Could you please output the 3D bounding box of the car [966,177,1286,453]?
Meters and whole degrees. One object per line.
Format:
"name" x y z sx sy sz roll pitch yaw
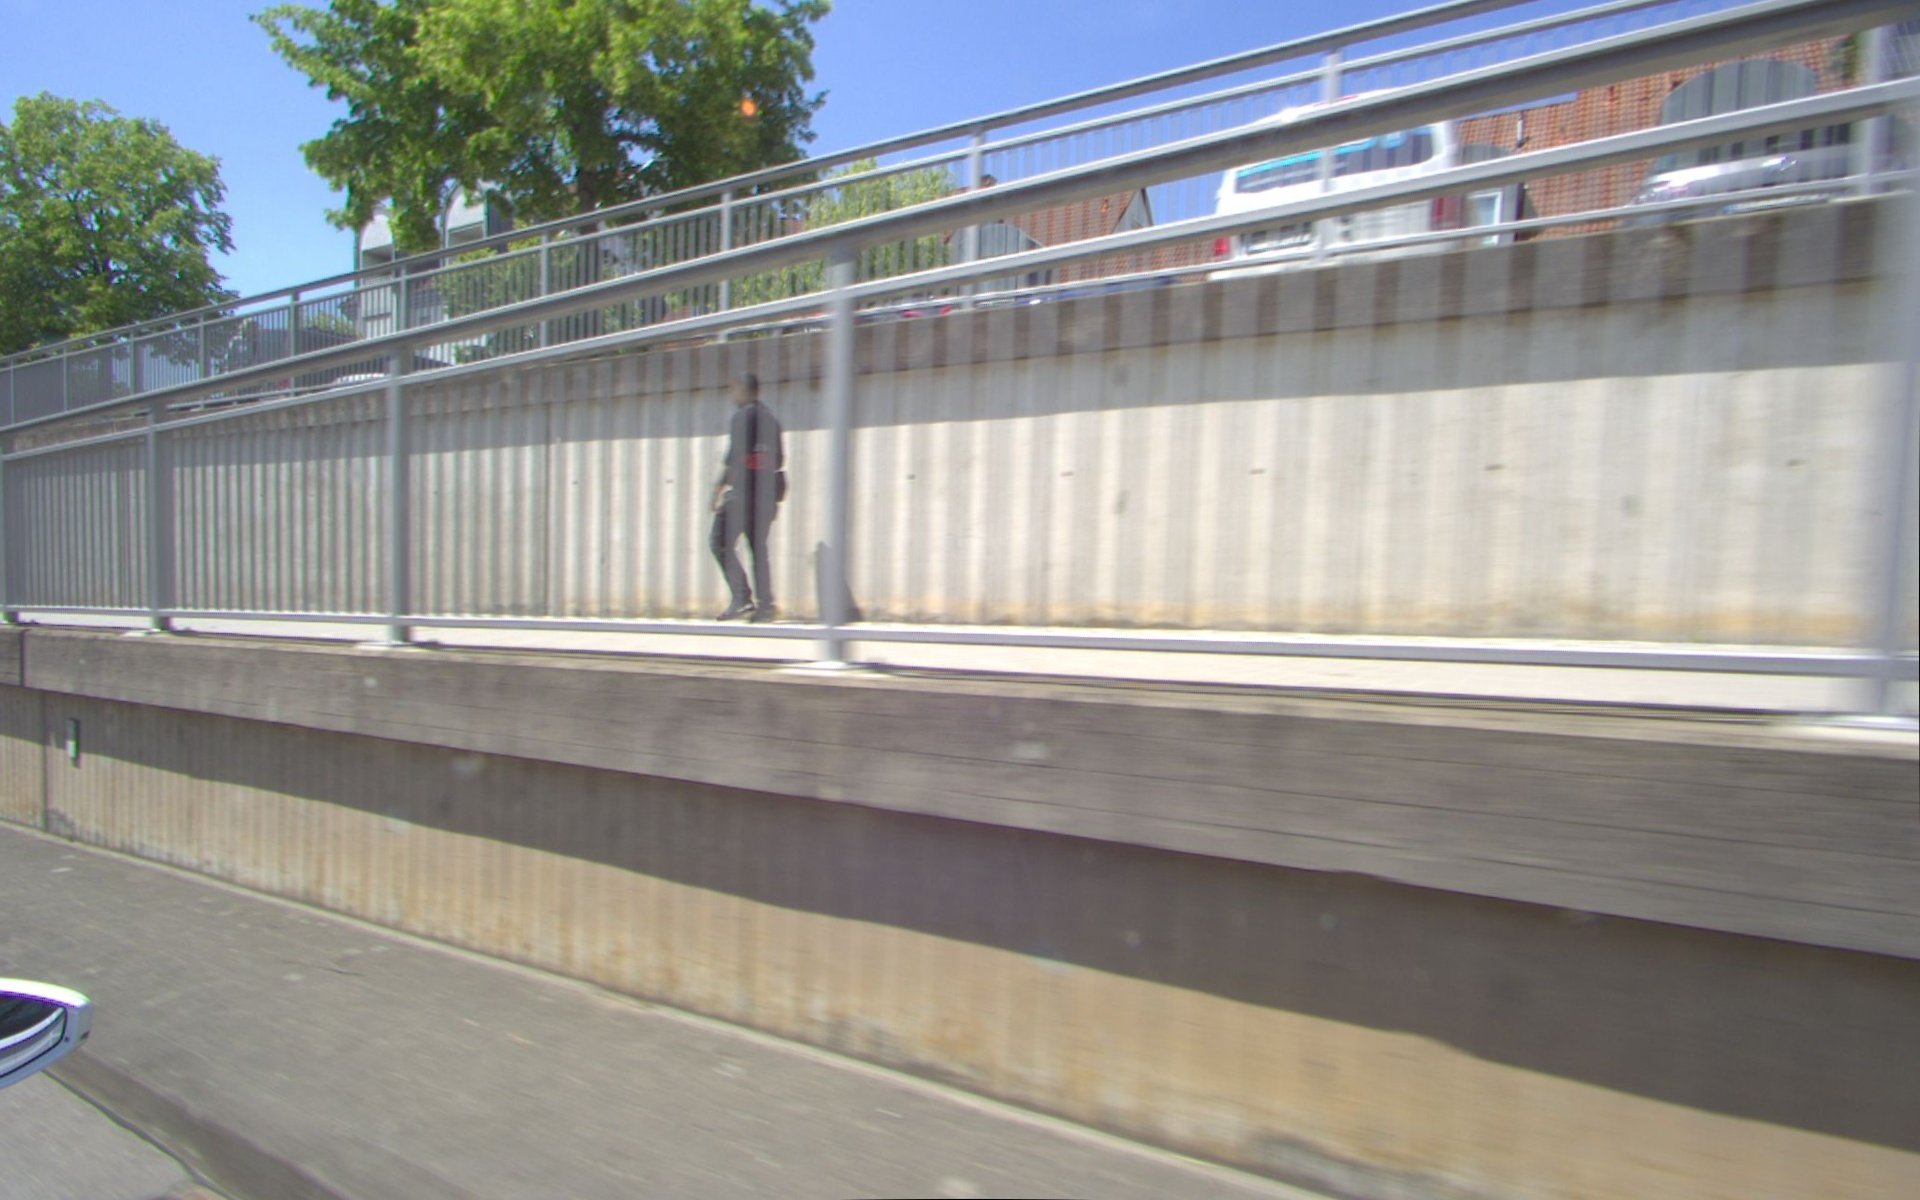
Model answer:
"car" 1.890 -2.585 10.174 1.661 1.618 4.195 3 2 32

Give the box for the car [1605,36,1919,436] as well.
"car" 6.028 -2.394 7.727 1.661 1.618 4.195 3 2 32

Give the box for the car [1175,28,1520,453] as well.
"car" 3.870 -2.760 9.298 1.959 2.092 5.101 3 2 32

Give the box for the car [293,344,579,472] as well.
"car" -8.476 -3.032 16.516 1.661 1.386 3.897 3 2 32

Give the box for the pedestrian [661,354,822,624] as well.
"pedestrian" -1.574 -0.743 7.266 0.777 1.806 0.834 1 1 32

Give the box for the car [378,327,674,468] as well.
"car" -6.436 -2.928 15.246 1.661 1.386 3.897 3 2 32

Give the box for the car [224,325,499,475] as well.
"car" -10.491 -3.393 17.817 1.661 1.911 3.897 3 2 32

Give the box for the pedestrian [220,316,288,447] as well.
"pedestrian" -10.702 -3.281 15.186 0.585 1.804 0.671 3 3 33

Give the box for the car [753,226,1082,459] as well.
"car" -0.281 -2.702 11.540 1.661 1.618 4.195 3 2 32
